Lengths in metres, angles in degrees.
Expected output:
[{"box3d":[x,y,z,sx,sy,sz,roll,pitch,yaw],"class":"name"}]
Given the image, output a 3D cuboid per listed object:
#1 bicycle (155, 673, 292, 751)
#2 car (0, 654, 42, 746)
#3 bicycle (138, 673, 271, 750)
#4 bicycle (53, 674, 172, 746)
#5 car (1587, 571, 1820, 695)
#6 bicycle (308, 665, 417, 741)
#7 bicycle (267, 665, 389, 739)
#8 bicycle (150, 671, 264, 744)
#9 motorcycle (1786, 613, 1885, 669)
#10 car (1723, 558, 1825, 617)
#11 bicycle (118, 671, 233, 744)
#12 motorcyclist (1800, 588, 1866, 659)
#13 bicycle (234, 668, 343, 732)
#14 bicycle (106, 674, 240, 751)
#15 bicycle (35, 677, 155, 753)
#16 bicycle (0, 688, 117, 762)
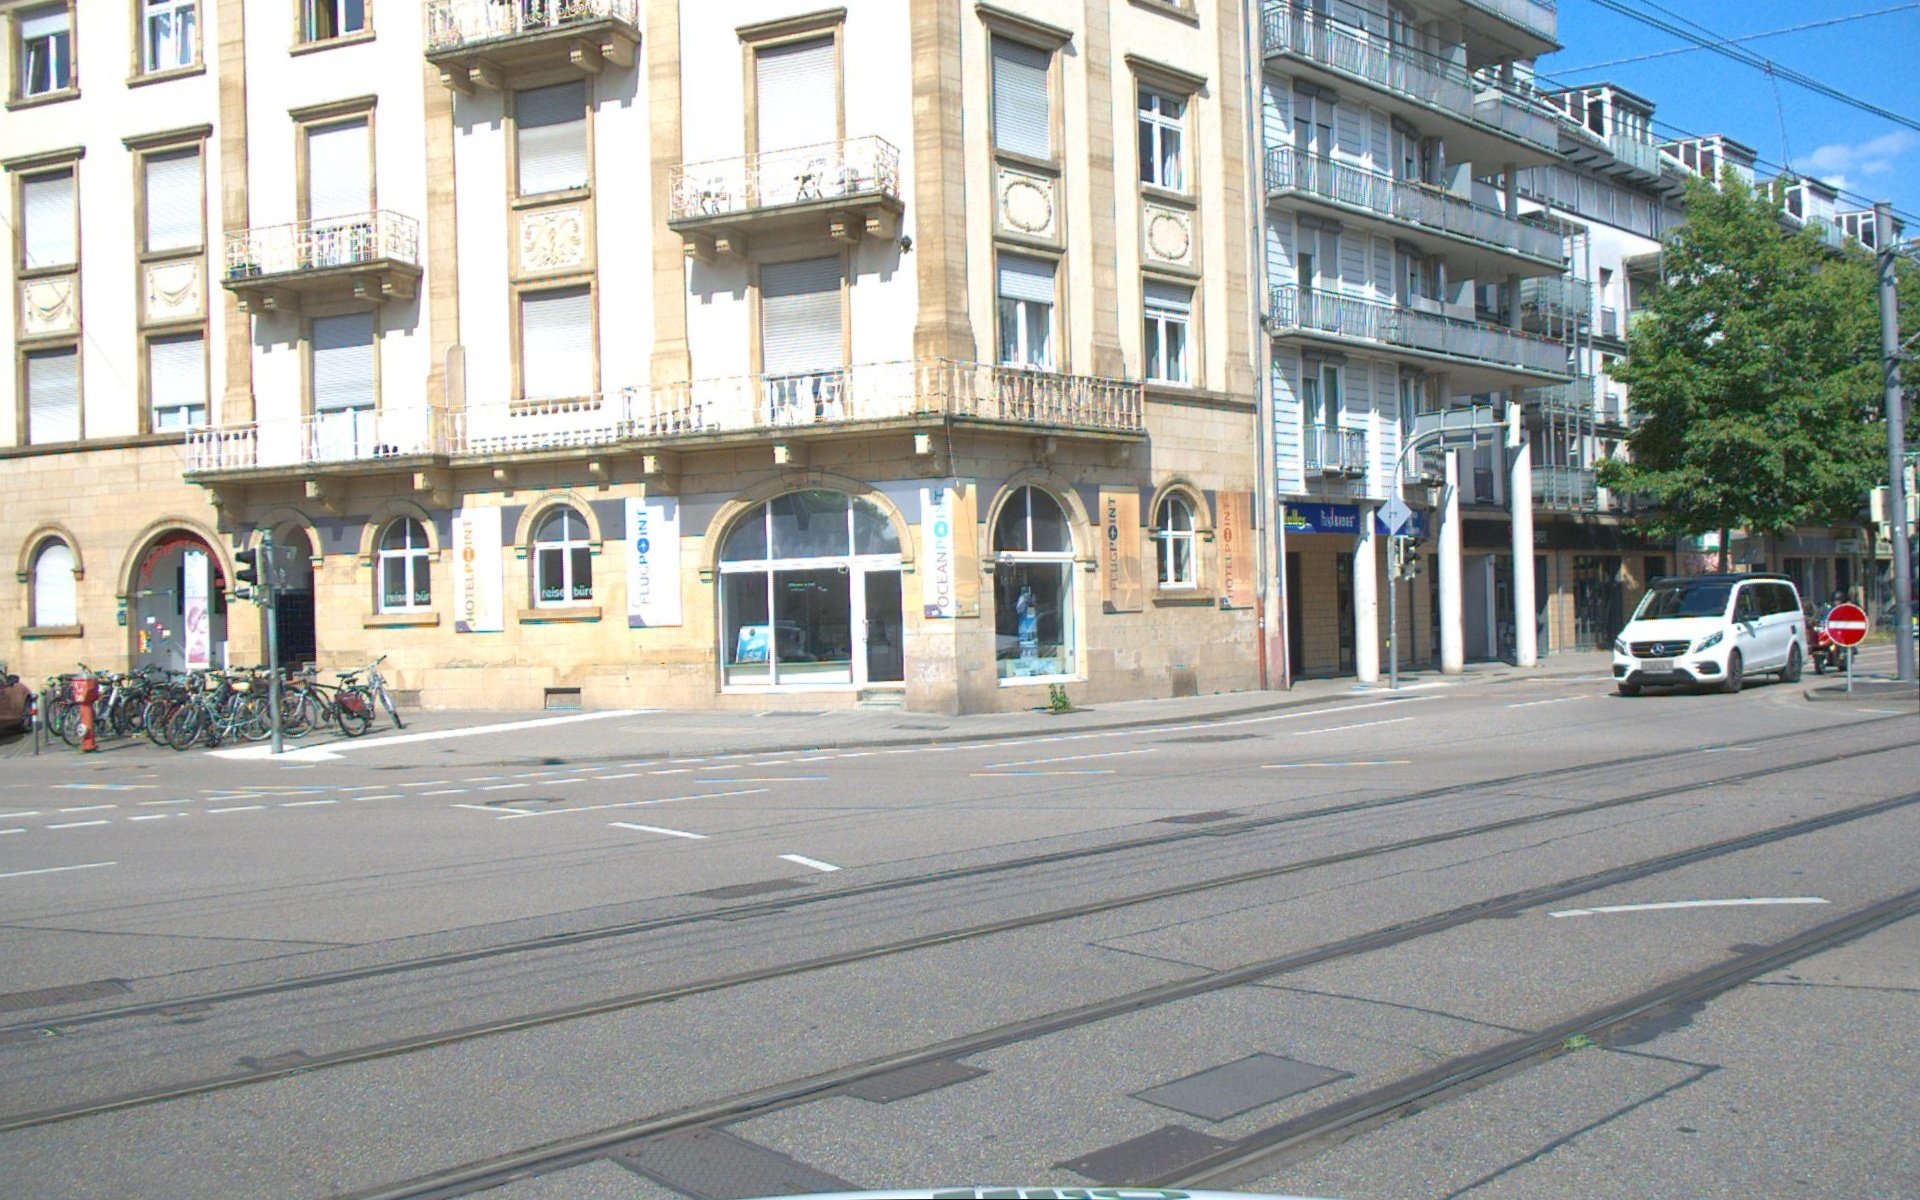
[{"box3d":[-11.676,1.756,26.245,1.862,1.036,0.593,-4,2,-43],"class":"bicycle"},{"box3d":[-17.568,1.821,28.637,1.929,1.466,3.984,-3,1,-15],"class":"car"},{"box3d":[-12.212,1.785,26.801,0.529,1.036,1.923,-2,2,34],"class":"bicycle"},{"box3d":[-14.638,1.880,28.619,0.527,1.036,1.929,-2,2,20],"class":"bicycle"},{"box3d":[12.924,0.514,28.570,1.967,1.924,5.135,-3,-1,45],"class":"car"},{"box3d":[-9.681,1.659,26.860,0.595,1.036,1.878,-2,1,18],"class":"bicycle"},{"box3d":[-10.372,1.657,27.206,0.596,1.036,1.874,-2,2,30],"class":"bicycle"},{"box3d":[-12.848,1.824,28.284,0.527,1.036,1.929,-2,2,20],"class":"bicycle"},{"box3d":[18.200,0.845,34.355,3.078,1.041,0.882,-1,-1,-44],"class":"motorcycle"},{"box3d":[26.147,-0.422,53.081,1.822,1.820,3.972,1,1,45],"class":"car"},{"box3d":[-13.488,1.833,28.502,0.527,1.036,1.929,-2,2,20],"class":"bicycle"},{"box3d":[18.095,0.490,34.290,1.079,1.428,0.882,-1,-1,-44],"class":"motorcyclist"},{"box3d":[-11.503,1.713,28.321,1.884,1.036,0.540,-2,2,25],"class":"bicycle"},{"box3d":[-12.788,1.816,26.925,0.529,1.036,1.923,-2,2,34],"class":"bicycle"},{"box3d":[-14.383,1.898,27.567,0.527,1.036,1.930,-2,2,17],"class":"bicycle"},{"box3d":[-14.313,1.964,25.936,1.882,1.036,0.541,-3,1,4],"class":"bicycle"}]
